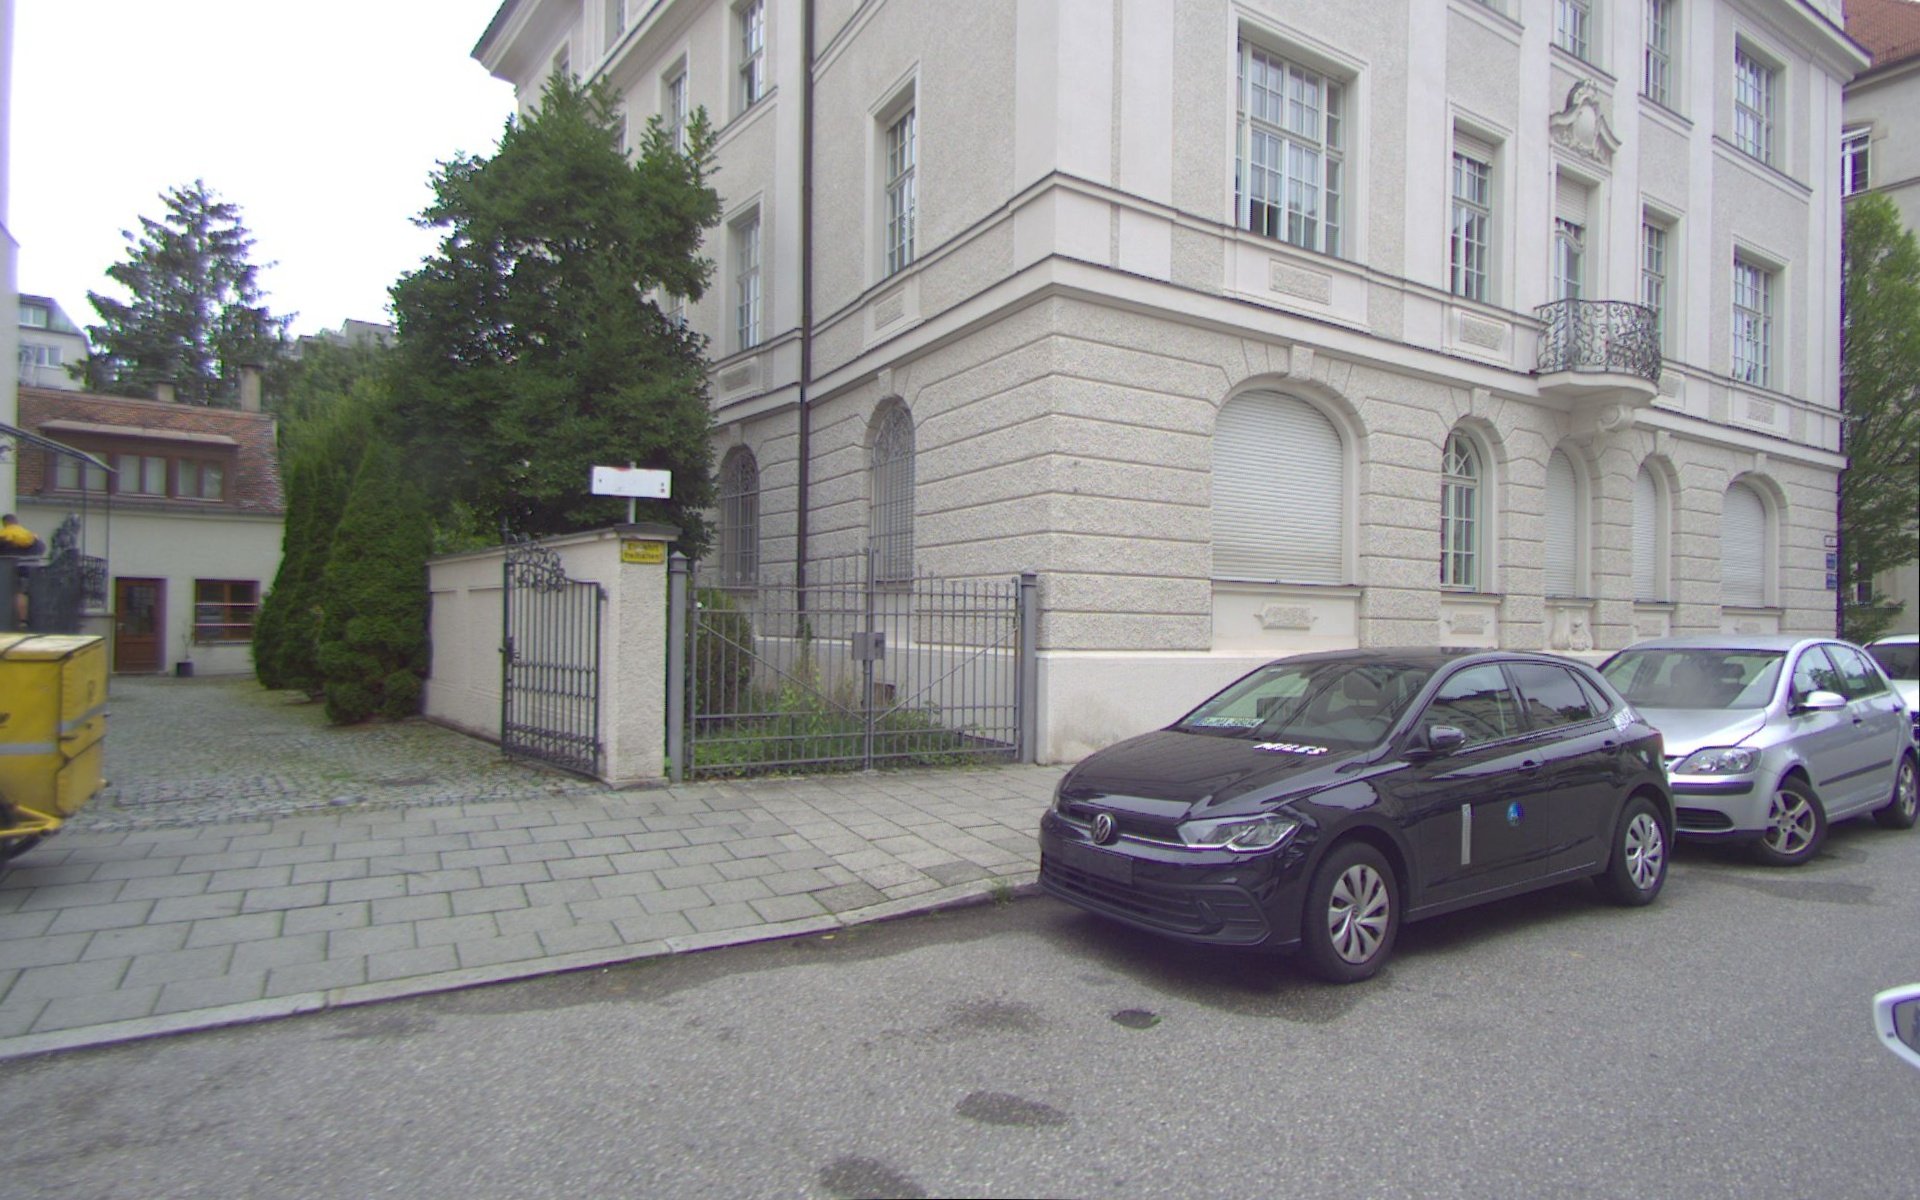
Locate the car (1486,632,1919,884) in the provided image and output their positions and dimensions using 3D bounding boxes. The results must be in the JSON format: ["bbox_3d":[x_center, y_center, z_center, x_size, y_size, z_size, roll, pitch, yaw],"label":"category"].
[{"bbox_3d":[6.286,1.082,8.187,4.214,1.561,1.772,2,-4,-34],"label":"car"}]

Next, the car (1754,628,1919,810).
[{"bbox_3d":[10.569,1.147,10.640,4.518,1.640,1.906,1,-1,-31],"label":"car"}]

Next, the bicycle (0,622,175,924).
[{"bbox_3d":[-5.333,0.762,4.508,2.684,1.259,1.146,2,3,-30],"label":"bicycle"}]

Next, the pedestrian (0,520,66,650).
[{"bbox_3d":[-14.398,-0.206,15.458,0.829,1.933,0.817,0,-2,41],"label":"pedestrian"}]

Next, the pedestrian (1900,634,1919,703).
[{"bbox_3d":[23.154,1.641,24.174,0.624,1.647,0.669,2,-1,-33],"label":"pedestrian"}]

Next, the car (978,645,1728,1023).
[{"bbox_3d":[2.352,0.998,5.722,4.230,1.433,1.784,2,-4,-31],"label":"car"}]
